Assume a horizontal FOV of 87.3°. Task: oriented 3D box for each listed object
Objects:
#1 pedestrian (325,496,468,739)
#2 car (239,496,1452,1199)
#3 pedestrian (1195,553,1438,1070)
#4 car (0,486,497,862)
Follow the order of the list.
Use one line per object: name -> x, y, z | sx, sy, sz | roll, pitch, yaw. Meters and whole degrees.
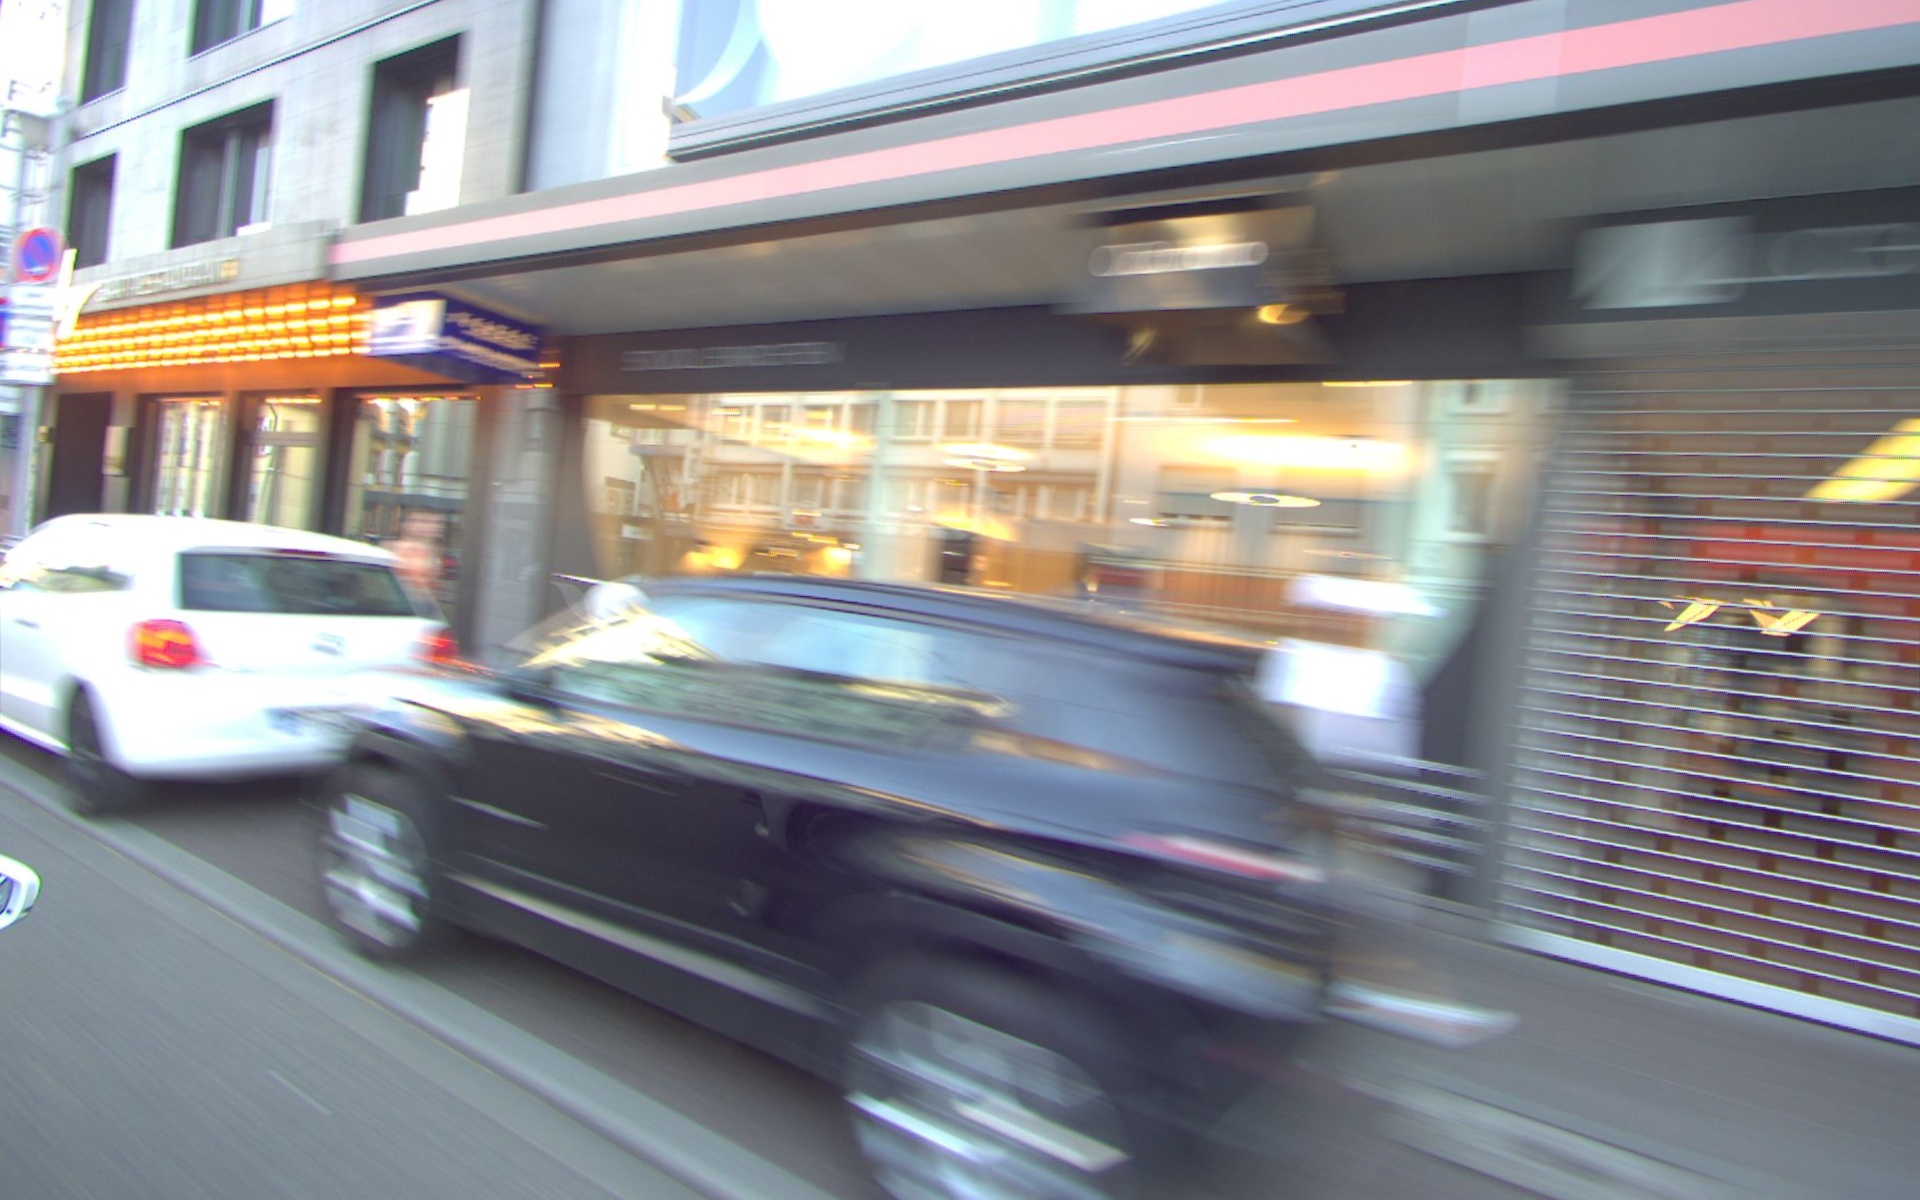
pedestrian -> -4.367, 0.133, 7.808 | 0.595, 1.775, 0.609 | 7, 1, 31
car -> -0.613, 0.639, 3.564 | 3.968, 1.594, 1.671 | 7, 0, 32
pedestrian -> 1.399, 0.753, 3.918 | 0.595, 1.775, 0.609 | 7, 1, 31
car -> -4.752, 0.211, 6.074 | 3.822, 1.563, 1.678 | 7, 1, 33
